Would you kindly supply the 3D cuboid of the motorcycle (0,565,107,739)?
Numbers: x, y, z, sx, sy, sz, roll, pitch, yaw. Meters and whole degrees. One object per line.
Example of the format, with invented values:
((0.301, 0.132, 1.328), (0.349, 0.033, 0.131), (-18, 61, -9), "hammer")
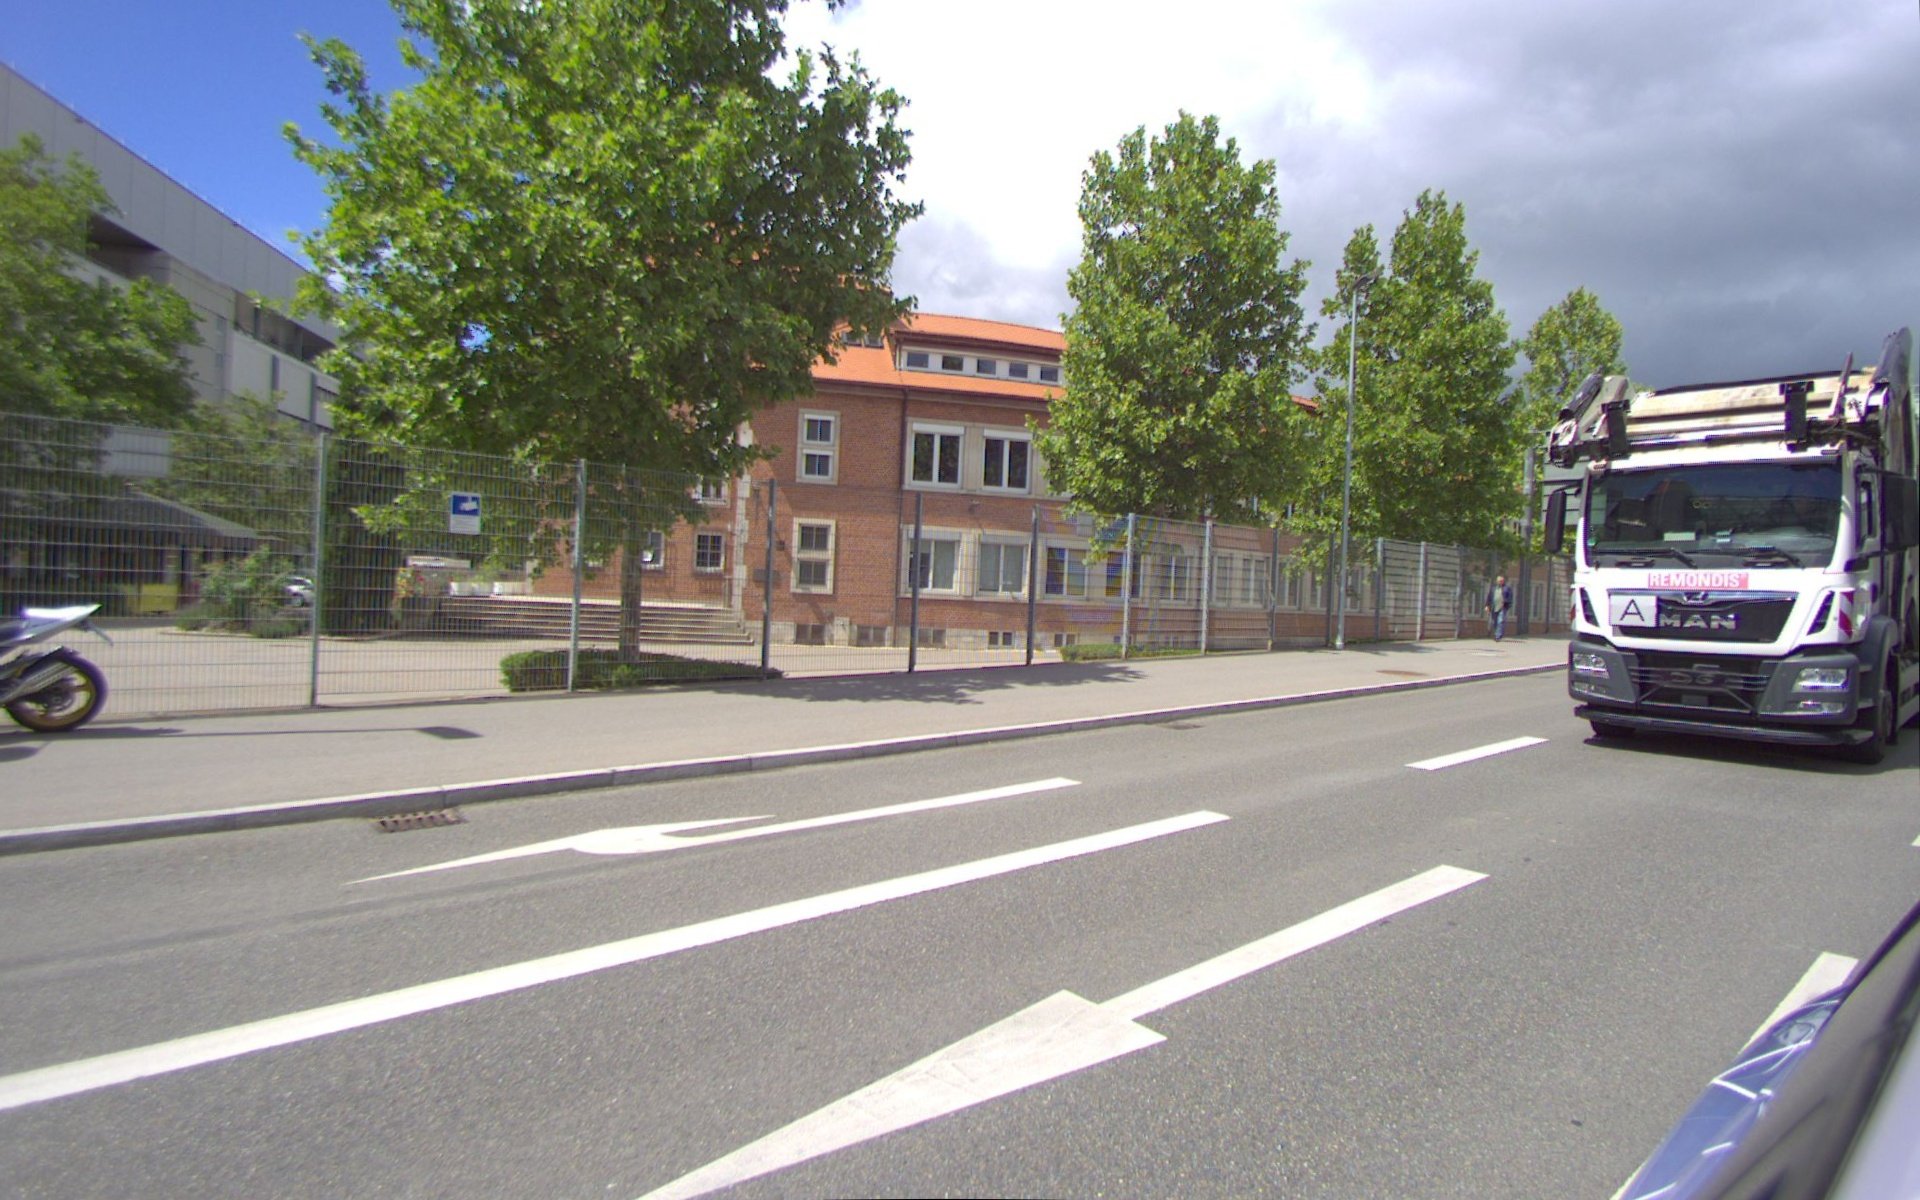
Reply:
((-7.445, 0.370, 7.291), (1.978, 1.238, 0.688), (-1, 3, -41), "motorcycle")

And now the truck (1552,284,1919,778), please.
((10.392, -0.613, 12.412), (9.999, 3.962, 2.492), (-1, 0, -42), "truck")

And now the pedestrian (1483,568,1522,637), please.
((14.676, 0.060, 27.396), (0.696, 1.804, 0.648), (4, 3, 44), "pedestrian")
